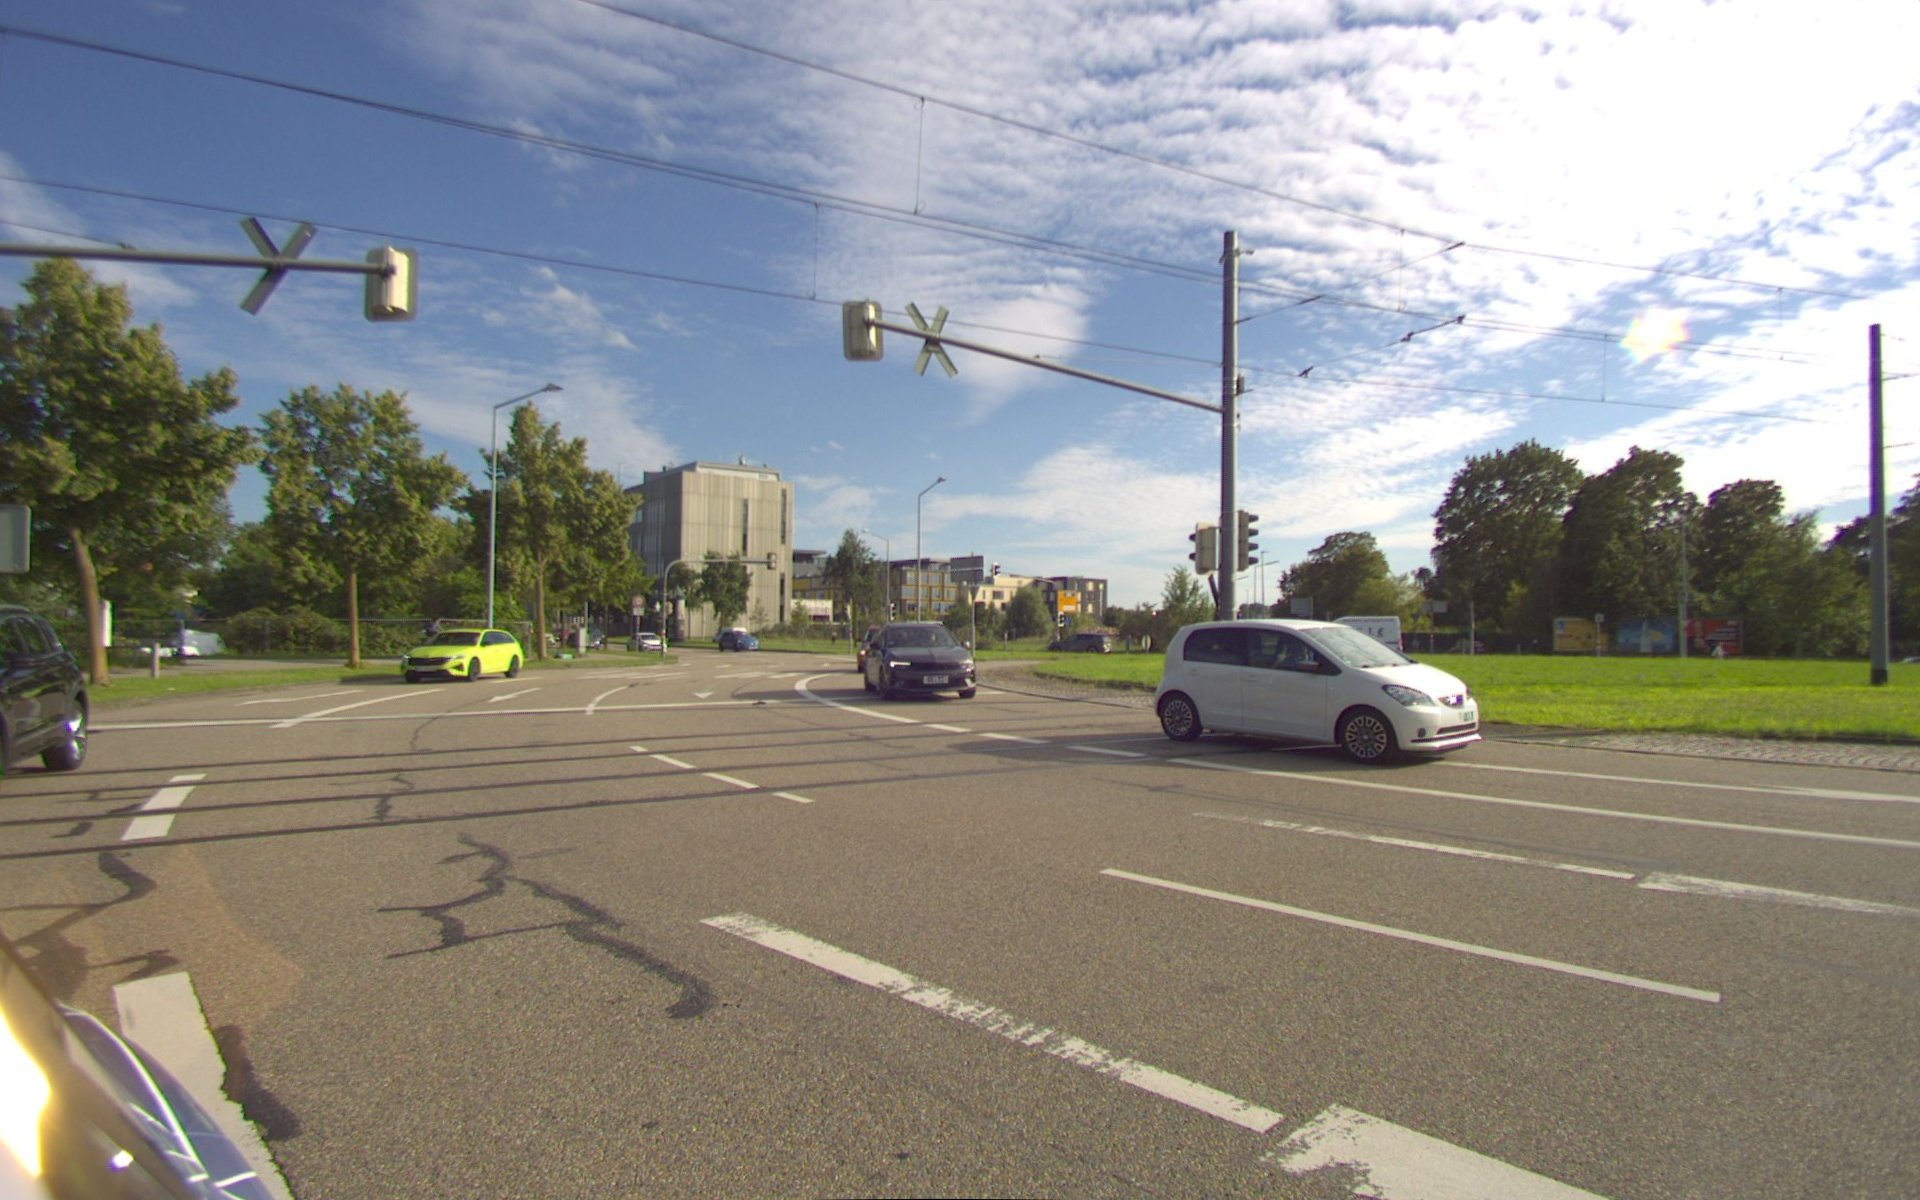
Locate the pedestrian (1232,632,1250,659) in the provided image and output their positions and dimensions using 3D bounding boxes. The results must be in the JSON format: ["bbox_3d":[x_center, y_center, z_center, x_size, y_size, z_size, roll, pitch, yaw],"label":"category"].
[{"bbox_3d":[21.231,3.427,76.506,0.882,1.931,0.869,-1,-1,-34],"label":"pedestrian"}]

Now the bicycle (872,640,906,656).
[{"bbox_3d":[-4.573,3.124,65.463,1.928,1.015,1.005,2,-2,-33],"label":"bicycle"}]

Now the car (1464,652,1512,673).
[{"bbox_3d":[40.352,4.740,77.406,1.663,1.513,3.990,1,-2,3],"label":"car"}]

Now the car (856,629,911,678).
[{"bbox_3d":[-2.462,1.752,33.306,1.670,1.486,4.229,0,-3,-2],"label":"car"}]

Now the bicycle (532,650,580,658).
[{"bbox_3d":[-21.775,2.914,54.520,2.232,0.349,1.083,-3,-3,19],"label":"bicycle"}]

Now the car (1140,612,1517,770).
[{"bbox_3d":[4.004,0.919,11.497,1.738,1.475,3.668,1,-2,-37],"label":"car"}]

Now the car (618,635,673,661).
[{"bbox_3d":[-21.818,3.290,70.101,1.968,1.674,4.812,2,-2,-39],"label":"car"}]

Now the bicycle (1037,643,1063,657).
[{"bbox_3d":[6.489,3.575,73.071,1.806,0.996,0.613,1,-3,-26],"label":"bicycle"}]

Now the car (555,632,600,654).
[{"bbox_3d":[-30.799,3.407,81.499,1.968,1.674,4.812,2,-2,-39],"label":"car"}]

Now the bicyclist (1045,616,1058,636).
[{"bbox_3d":[6.598,1.885,73.181,0.686,1.456,0.613,2,-2,-25],"label":"bicyclist"}]

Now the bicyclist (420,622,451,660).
[{"bbox_3d":[-22.340,1.744,43.078,0.803,1.559,0.893,-1,-2,38],"label":"bicyclist"}]

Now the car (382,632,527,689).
[{"bbox_3d":[-14.080,1.637,28.504,1.870,1.431,4.609,0,-1,-1],"label":"car"}]

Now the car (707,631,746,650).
[{"bbox_3d":[-23.353,4.061,101.061,1.661,1.839,4.564,5,-5,-44],"label":"car"}]

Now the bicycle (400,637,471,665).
[{"bbox_3d":[-22.316,2.152,43.105,0.803,1.134,2.567,-1,-2,39],"label":"bicycle"}]

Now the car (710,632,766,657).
[{"bbox_3d":[-15.959,3.143,72.572,1.968,1.674,4.812,2,-2,-39],"label":"car"}]

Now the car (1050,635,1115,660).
[{"bbox_3d":[8.180,3.153,67.478,3.976,1.513,1.669,0,-4,28],"label":"car"}]

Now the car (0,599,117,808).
[{"bbox_3d":[-9.209,0.851,8.865,1.841,1.708,5.030,2,-2,-29],"label":"car"}]

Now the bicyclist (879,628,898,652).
[{"bbox_3d":[-4.629,2.592,65.405,0.851,1.568,1.000,2,-2,-33],"label":"bicyclist"}]

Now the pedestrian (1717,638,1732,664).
[{"bbox_3d":[48.805,3.269,64.633,0.541,1.637,0.505,0,-2,2],"label":"pedestrian"}]

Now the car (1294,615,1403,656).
[{"bbox_3d":[23.337,2.119,61.059,5.970,2.281,2.055,1,-4,16],"label":"car"}]

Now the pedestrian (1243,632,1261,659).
[{"bbox_3d":[21.907,3.407,75.913,0.882,1.931,0.869,-1,-1,-34],"label":"pedestrian"}]

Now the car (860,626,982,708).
[{"bbox_3d":[-0.910,1.255,20.452,1.795,1.431,4.457,0,-1,-11],"label":"car"}]

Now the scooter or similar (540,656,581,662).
[{"bbox_3d":[-20.462,3.007,51.851,1.287,0.283,1.538,-1,-2,28],"label":"scooter or similar"}]

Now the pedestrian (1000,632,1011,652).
[{"bbox_3d":[3.723,3.480,83.573,0.618,1.642,0.659,0,-2,-35],"label":"pedestrian"}]
